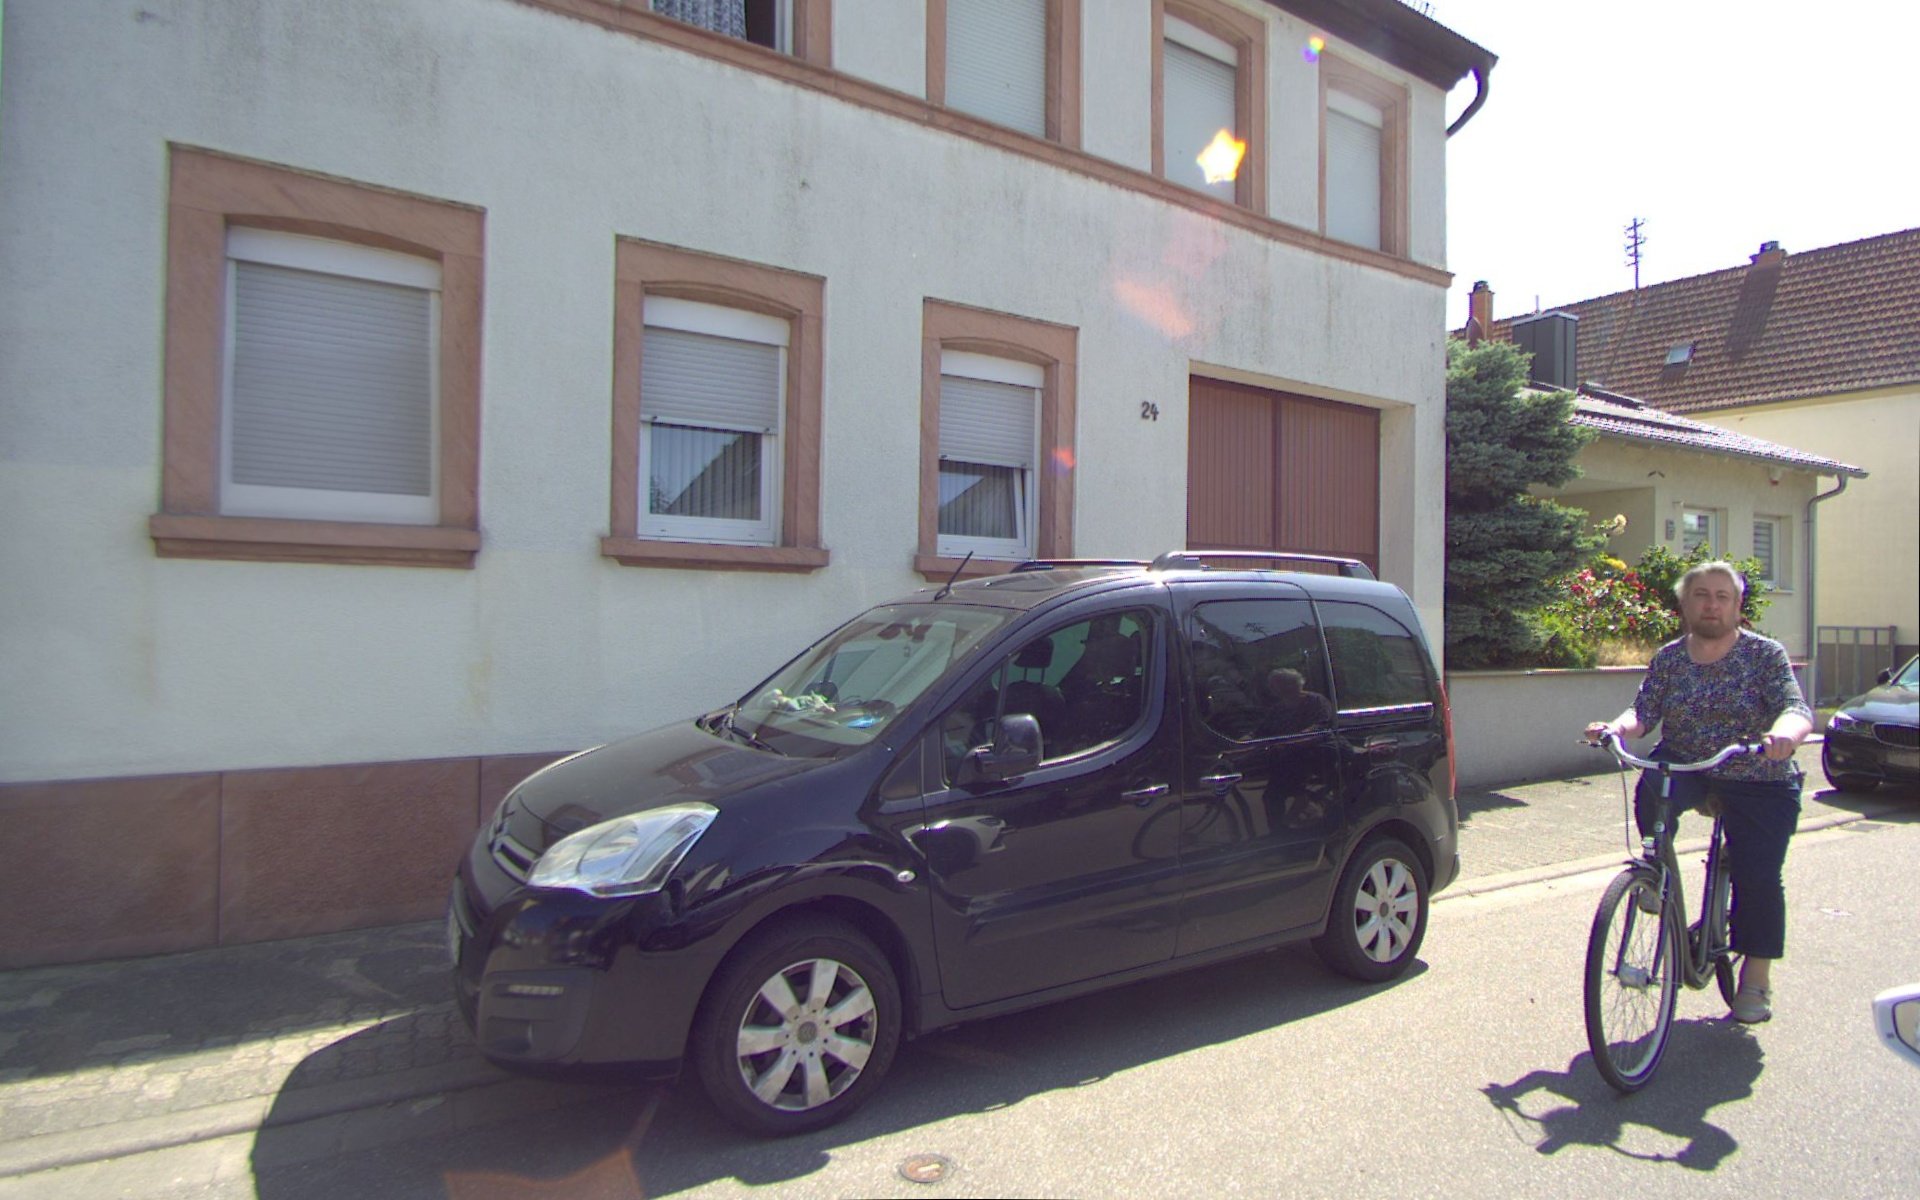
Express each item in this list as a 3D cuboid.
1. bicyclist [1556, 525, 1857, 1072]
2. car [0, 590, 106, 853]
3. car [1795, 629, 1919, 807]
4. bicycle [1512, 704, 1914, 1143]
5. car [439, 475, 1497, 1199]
[{"bbox_3d":[2.771,0.652,3.753,0.618,1.794,0.699,1,1,-34],"label":"bicyclist"},{"bbox_3d":[-6.108,0.668,5.249,1.653,1.477,3.733,1,-1,-27],"label":"car"},{"bbox_3d":[10.438,1.076,9.957,4.709,1.547,1.836,1,-1,-30],"label":"car"},{"bbox_3d":[2.852,1.025,3.729,1.928,1.163,0.585,1,-2,-34],"label":"bicycle"},{"bbox_3d":[0.194,0.675,4.380,4.302,1.862,1.826,1,-1,-30],"label":"car"}]
